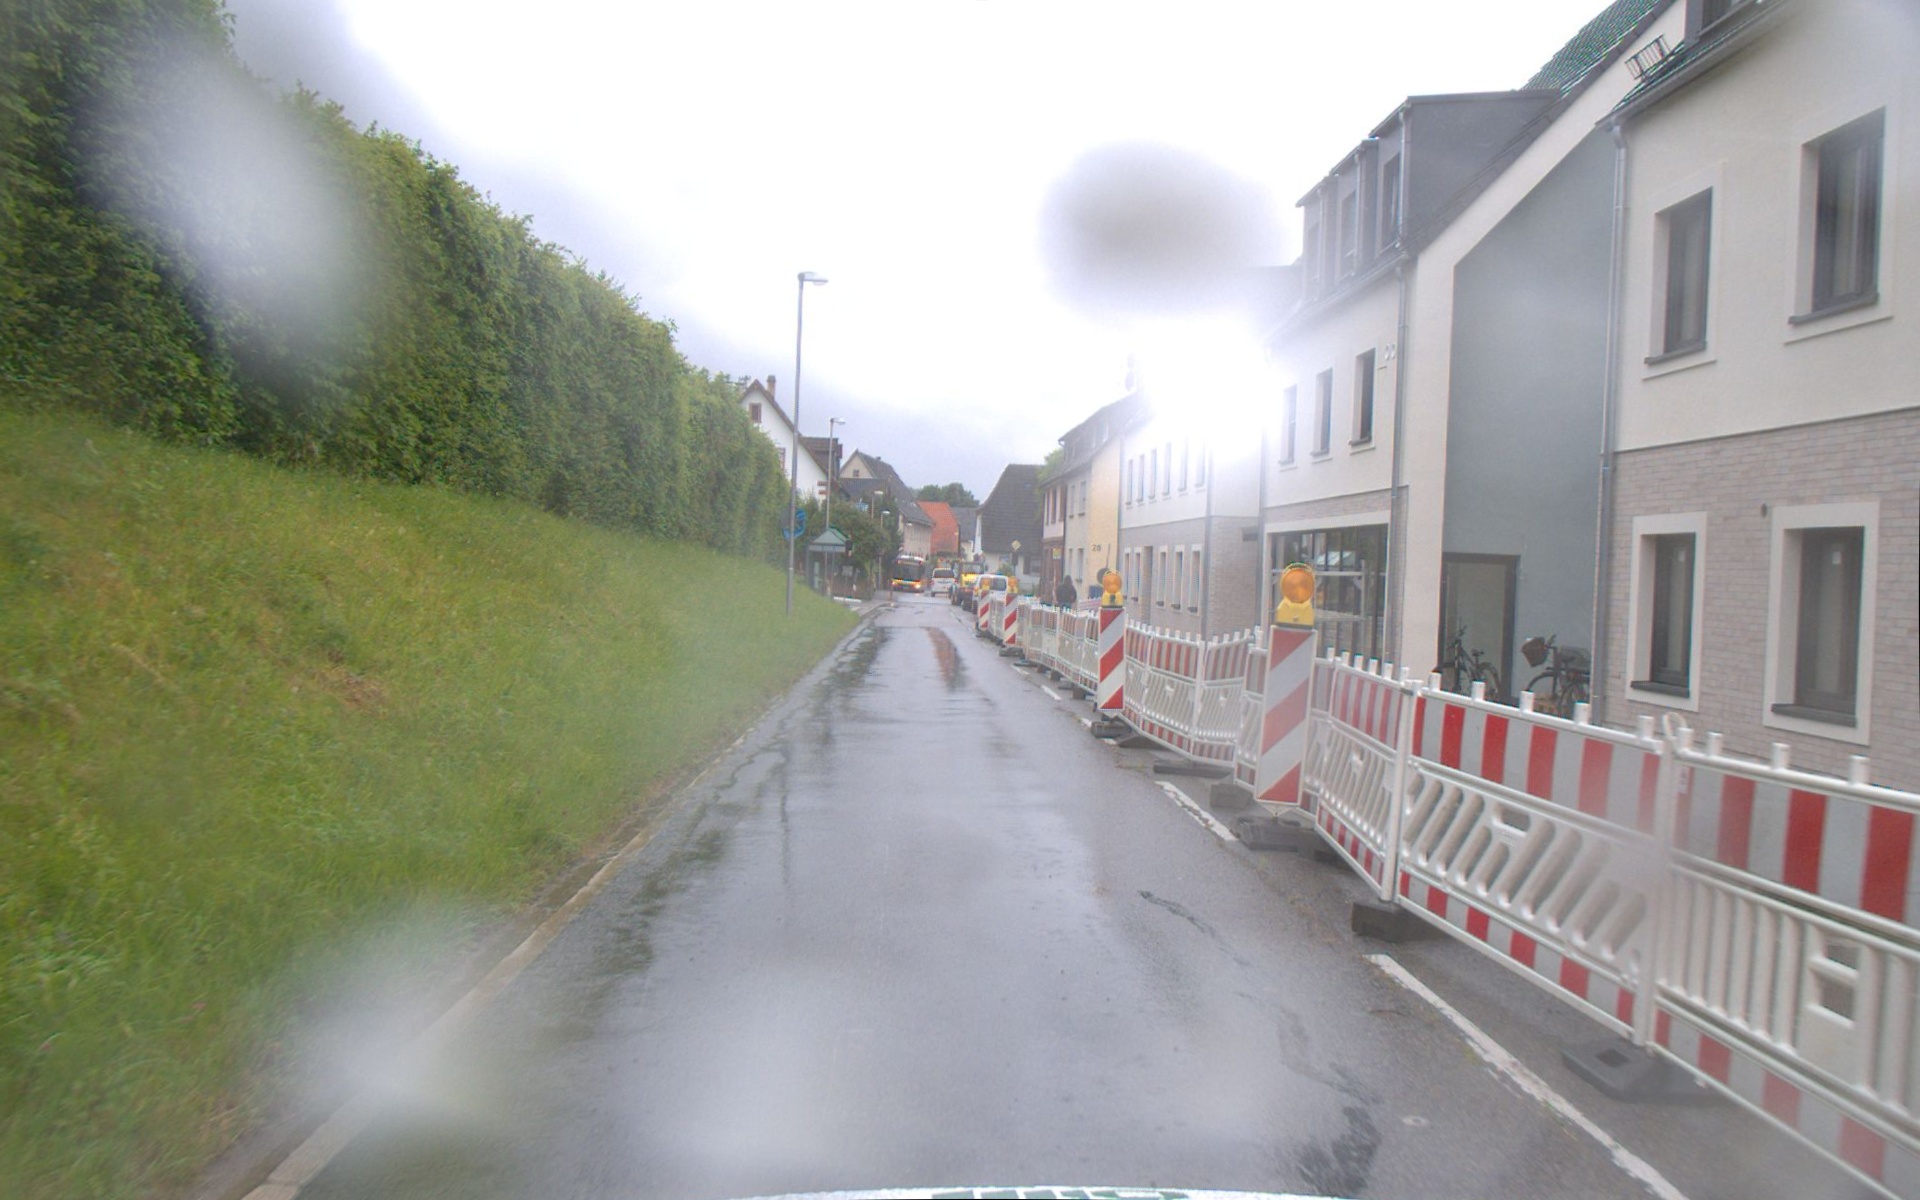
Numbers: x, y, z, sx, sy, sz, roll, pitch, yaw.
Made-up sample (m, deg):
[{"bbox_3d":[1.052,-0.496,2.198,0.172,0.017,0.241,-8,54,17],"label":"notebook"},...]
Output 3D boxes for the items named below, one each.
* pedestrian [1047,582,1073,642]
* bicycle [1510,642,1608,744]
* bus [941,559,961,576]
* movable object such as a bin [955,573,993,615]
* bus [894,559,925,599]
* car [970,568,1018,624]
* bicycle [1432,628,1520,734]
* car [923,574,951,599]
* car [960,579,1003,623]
[{"bbox_3d":[3.039,0.362,50.140,0.652,1.786,0.812,3,0,0],"label":"pedestrian"},{"bbox_3d":[7.400,1.122,20.499,0.507,1.122,1.789,3,0,0],"label":"bicycle"},{"bbox_3d":[-0.820,-3.045,154.707,1.757,1.434,4.000,3,0,1],"label":"bus"},{"bbox_3d":[0.783,-0.353,95.165,1.954,2.210,3.999,3,0,-2],"label":"movable object such as a bin"},{"bbox_3d":[-4.311,-1.765,141.858,2.196,3.156,7.030,3,0,0],"label":"bus"},{"bbox_3d":[1.560,-0.199,77.690,1.953,2.416,4.094,3,0,-2],"label":"car"},{"bbox_3d":[6.628,1.013,21.308,0.507,1.241,1.789,3,0,0],"label":"bicycle"},{"bbox_3d":[-1.648,-0.950,117.397,1.781,1.670,4.094,3,0,-2],"label":"car"},{"bbox_3d":[1.058,0.035,83.690,1.953,2.048,3.999,3,0,-1],"label":"car"}]
